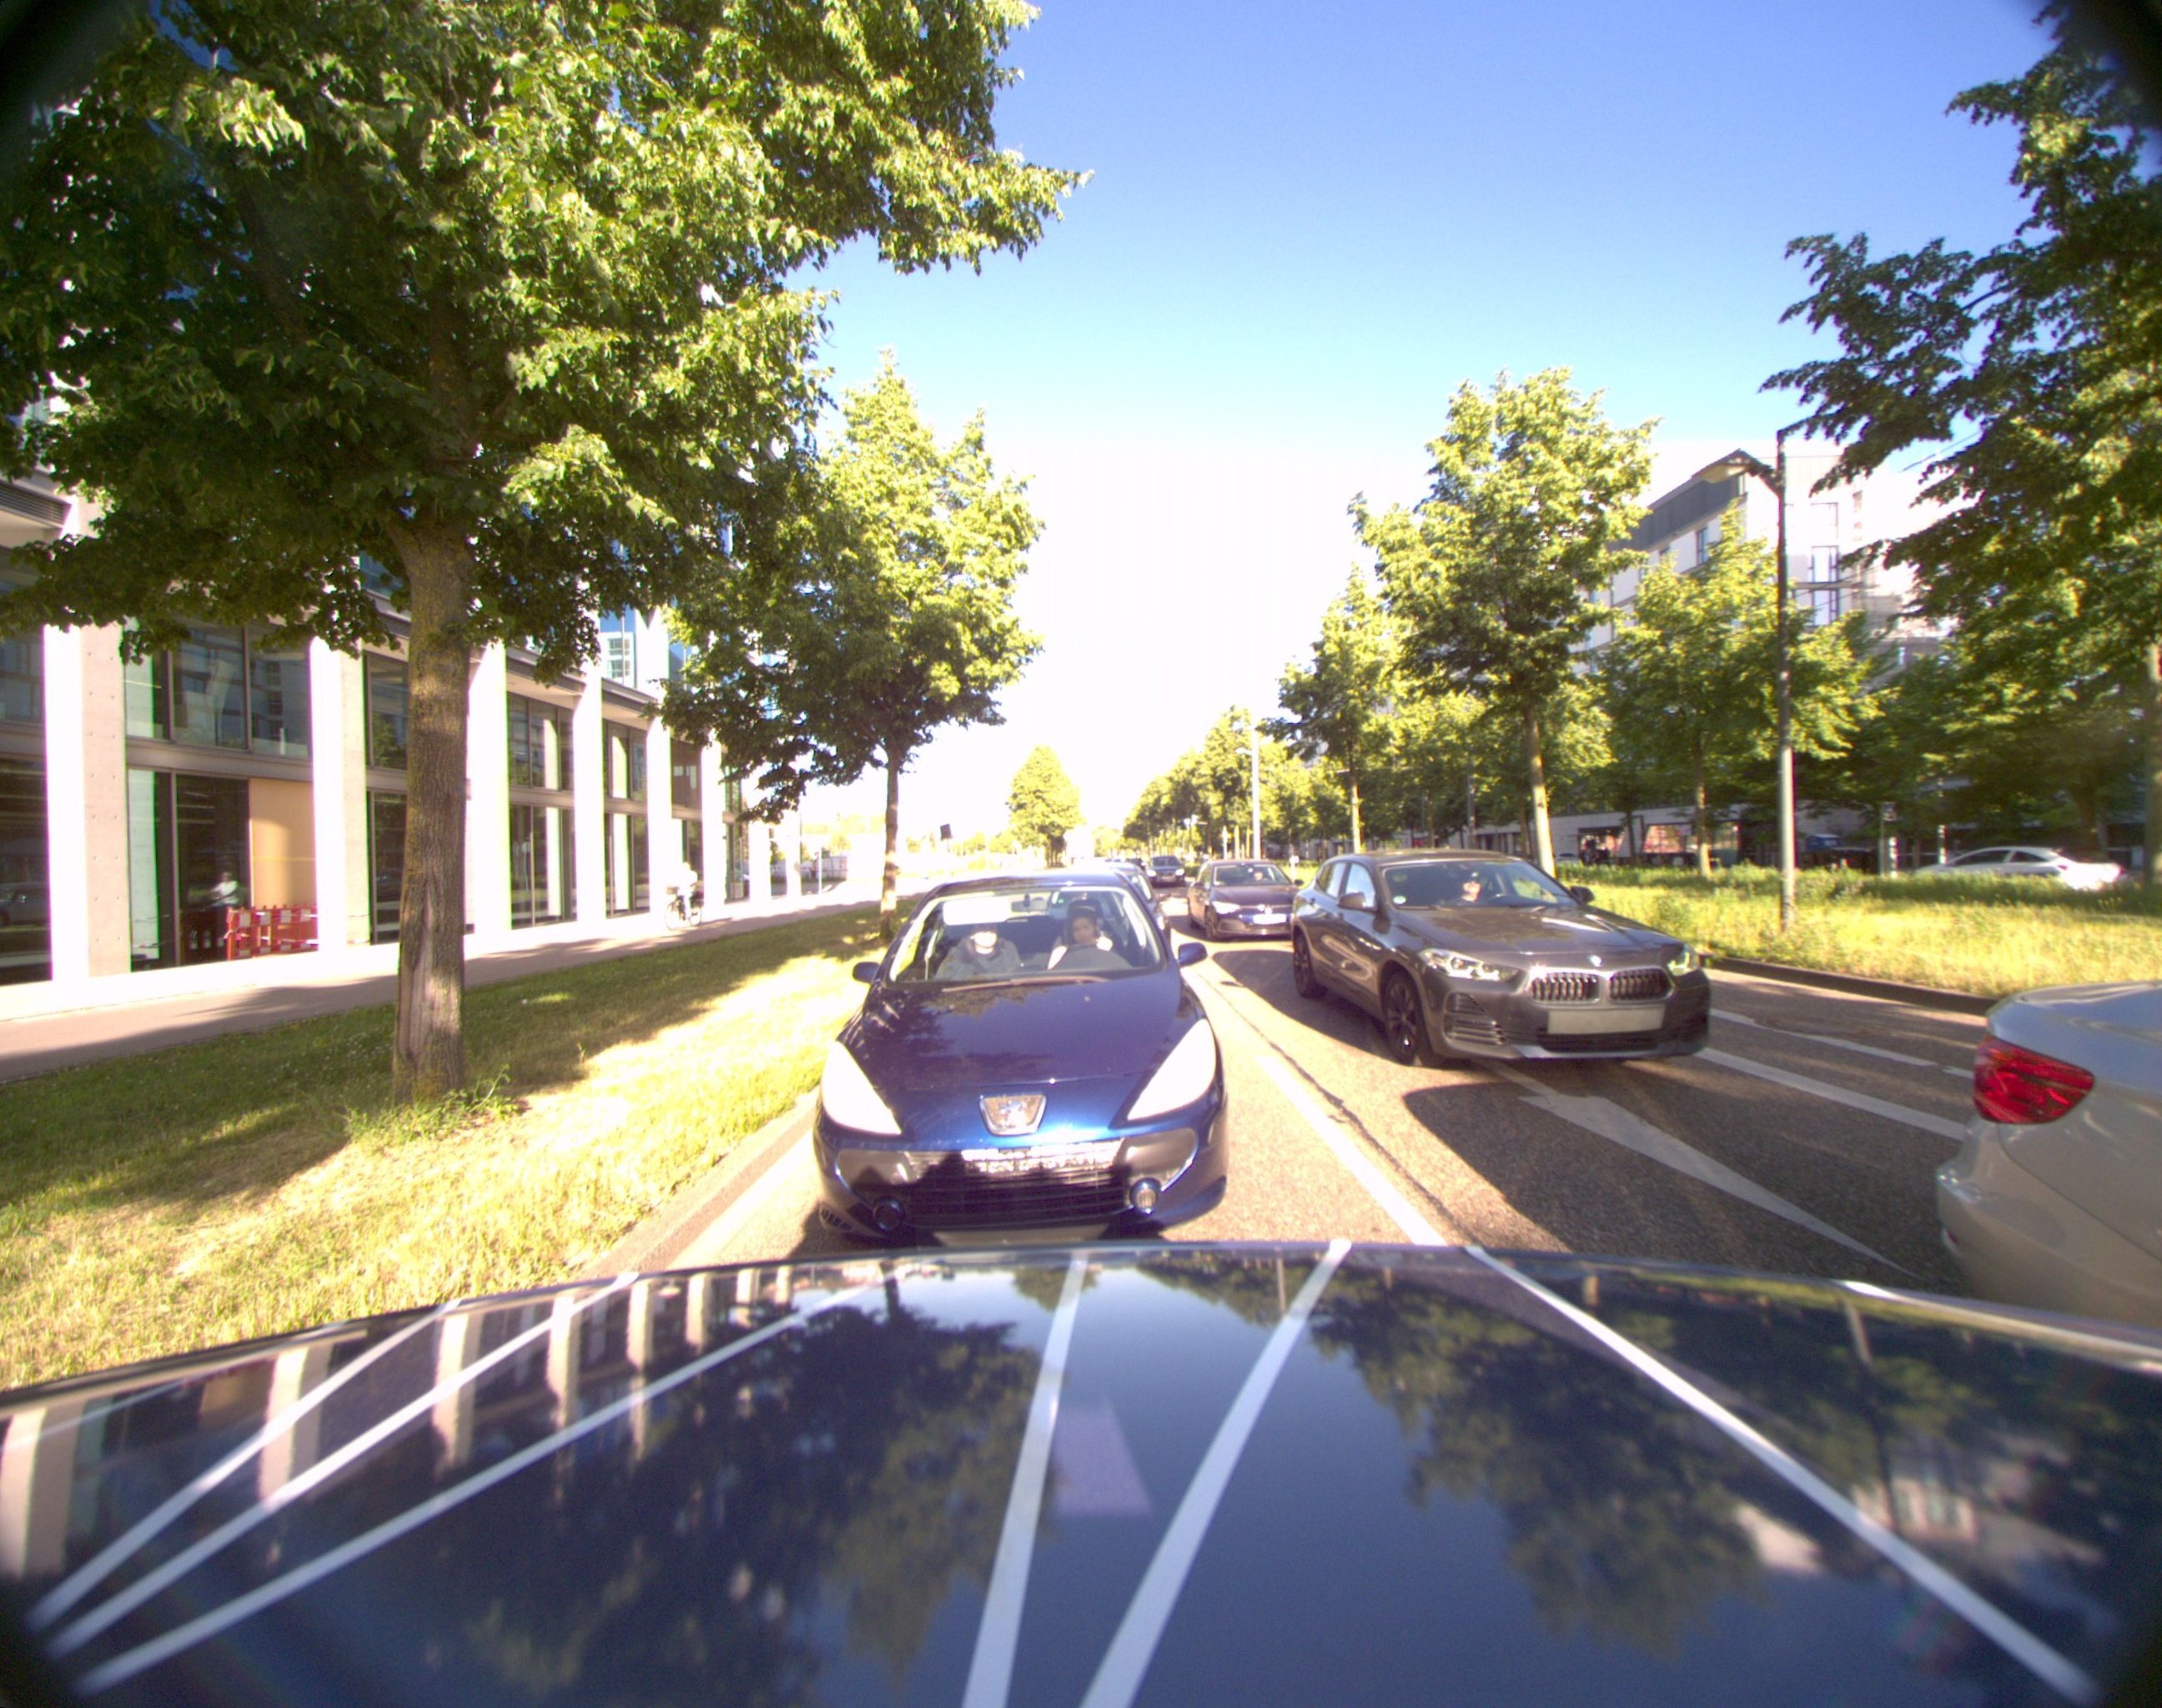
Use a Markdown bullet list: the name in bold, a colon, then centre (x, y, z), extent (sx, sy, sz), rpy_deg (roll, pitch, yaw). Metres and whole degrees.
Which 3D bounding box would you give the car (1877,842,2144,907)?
- **car**: centre (25.441, 0.493, 21.126), extent (1.803, 1.474, 4.568), rpy_deg (-5, 0, 1)

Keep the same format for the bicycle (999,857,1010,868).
- **bicycle**: centre (-10.161, 1.122, 100.796), extent (0.931, 1.355, 4.000), rpy_deg (-1, 0, 1)

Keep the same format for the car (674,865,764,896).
- **car**: centre (-20.035, 1.435, 42.160), extent (3.996, 1.569, 2.000), rpy_deg (-1, 0, 3)

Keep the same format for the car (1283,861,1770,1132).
- **car**: centre (3.081, 0.844, 6.361), extent (1.860, 1.482, 4.001), rpy_deg (-1, 0, 3)

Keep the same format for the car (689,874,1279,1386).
- **car**: centre (-0.282, 0.948, 4.672), extent (1.846, 1.473, 4.481), rpy_deg (-2, 0, 1)

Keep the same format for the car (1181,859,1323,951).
- **car**: centre (3.074, 0.856, 14.568), extent (1.878, 1.415, 4.344), rpy_deg (-1, 0, 2)

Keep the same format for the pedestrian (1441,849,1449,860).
- **pedestrian**: centre (42.302, 0.038, 88.353), extent (0.604, 1.331, 0.660), rpy_deg (-1, 1, 1)

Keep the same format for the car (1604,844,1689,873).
- **car**: centre (33.630, 0.265, 45.344), extent (1.951, 1.588, 4.184), rpy_deg (-1, 0, 1)

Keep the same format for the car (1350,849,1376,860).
- **car**: centre (35.295, 0.041, 95.113), extent (1.998, 1.387, 4.001), rpy_deg (-1, 0, 4)

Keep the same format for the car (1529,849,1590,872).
- **car**: centre (34.907, 0.472, 55.538), extent (1.884, 1.588, 4.184), rpy_deg (-1, 0, 1)

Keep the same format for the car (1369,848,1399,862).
- **car**: centre (35.509, 0.137, 89.032), extent (1.884, 1.588, 4.184), rpy_deg (-1, 0, 1)

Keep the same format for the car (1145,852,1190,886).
- **car**: centre (4.328, 0.709, 38.569), extent (1.878, 1.577, 4.344), rpy_deg (-1, 0, 2)

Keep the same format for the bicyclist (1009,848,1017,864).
- **bicyclist**: centre (-9.012, 0.283, 100.782), extent (0.931, 2.045, 1.121), rpy_deg (-1, 1, 1)

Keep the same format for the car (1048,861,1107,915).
- **car**: centre (-0.063, 1.009, 24.353), extent (1.724, 1.516, 4.000), rpy_deg (-1, 0, 1)

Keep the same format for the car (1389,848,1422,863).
- **car**: centre (35.451, 0.194, 83.111), extent (1.884, 1.588, 4.184), rpy_deg (-1, 0, 1)

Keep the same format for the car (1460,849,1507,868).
- **car**: centre (35.162, 0.360, 66.521), extent (1.884, 1.588, 4.184), rpy_deg (-1, 0, 1)

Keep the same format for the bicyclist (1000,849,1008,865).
- **bicyclist**: centre (-10.161, 0.358, 100.524), extent (0.931, 2.045, 1.121), rpy_deg (-1, 1, 1)

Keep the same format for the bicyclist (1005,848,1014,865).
- **bicyclist**: centre (-9.061, 0.323, 96.621), extent (0.931, 2.045, 1.121), rpy_deg (-1, 1, 1)

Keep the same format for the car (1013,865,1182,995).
- **car**: centre (0.226, 0.954, 11.465), extent (1.998, 1.437, 4.622), rpy_deg (-1, 0, 1)

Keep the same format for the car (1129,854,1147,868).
- **car**: centre (6.667, 0.763, 89.255), extent (1.878, 1.561, 4.344), rpy_deg (-1, 0, 2)

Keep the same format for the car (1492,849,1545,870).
- **car**: centre (35.195, 0.405, 61.238), extent (1.884, 1.588, 4.184), rpy_deg (-1, 0, 1)

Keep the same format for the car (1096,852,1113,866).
- **car**: centre (2.777, 0.620, 91.214), extent (1.879, 1.561, 4.344), rpy_deg (-1, 0, 1)

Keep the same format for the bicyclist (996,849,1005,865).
- **bicyclist**: centre (-10.229, 0.399, 96.420), extent (0.931, 2.045, 1.121), rpy_deg (-1, 1, 1)

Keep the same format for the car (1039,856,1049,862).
- **car**: centre (-9.076, 1.264, 187.698), extent (1.998, 1.556, 4.835), rpy_deg (-1, 0, 1)

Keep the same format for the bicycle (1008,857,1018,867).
- **bicycle**: centre (-9.010, 1.049, 100.872), extent (0.931, 1.355, 4.000), rpy_deg (-1, 0, 1)

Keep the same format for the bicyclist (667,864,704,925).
- **bicyclist**: centre (-10.270, 1.042, 19.765), extent (0.591, 1.530, 0.699), rpy_deg (1, 0, -1)

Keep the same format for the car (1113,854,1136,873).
- **car**: centre (3.767, 0.775, 66.800), extent (1.878, 1.561, 4.344), rpy_deg (-1, 0, 2)

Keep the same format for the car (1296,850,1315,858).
- **car**: centre (36.619, 0.008, 124.160), extent (1.998, 1.387, 4.000), rpy_deg (-1, 0, 1)

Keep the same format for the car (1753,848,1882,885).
- **car**: centre (34.092, 0.536, 35.359), extent (1.951, 1.588, 4.184), rpy_deg (-1, 0, 1)

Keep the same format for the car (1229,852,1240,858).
- **car**: centre (36.127, 0.170, 179.238), extent (1.998, 1.387, 4.001), rpy_deg (-1, 0, 4)

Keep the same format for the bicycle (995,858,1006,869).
- **bicycle**: centre (-10.220, 1.165, 96.409), extent (0.931, 1.355, 4.000), rpy_deg (-1, 0, 1)

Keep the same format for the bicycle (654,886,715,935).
- **bicycle**: centre (-10.278, 1.429, 19.772), extent (0.591, 1.149, 1.927), rpy_deg (1, 0, 0)

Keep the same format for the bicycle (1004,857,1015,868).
- **bicycle**: centre (-9.040, 1.088, 96.718), extent (0.931, 1.355, 4.000), rpy_deg (-1, 0, 1)

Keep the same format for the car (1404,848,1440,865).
- **car**: centre (35.038, 0.263, 78.203), extent (1.884, 1.588, 4.184), rpy_deg (-1, 0, 1)
